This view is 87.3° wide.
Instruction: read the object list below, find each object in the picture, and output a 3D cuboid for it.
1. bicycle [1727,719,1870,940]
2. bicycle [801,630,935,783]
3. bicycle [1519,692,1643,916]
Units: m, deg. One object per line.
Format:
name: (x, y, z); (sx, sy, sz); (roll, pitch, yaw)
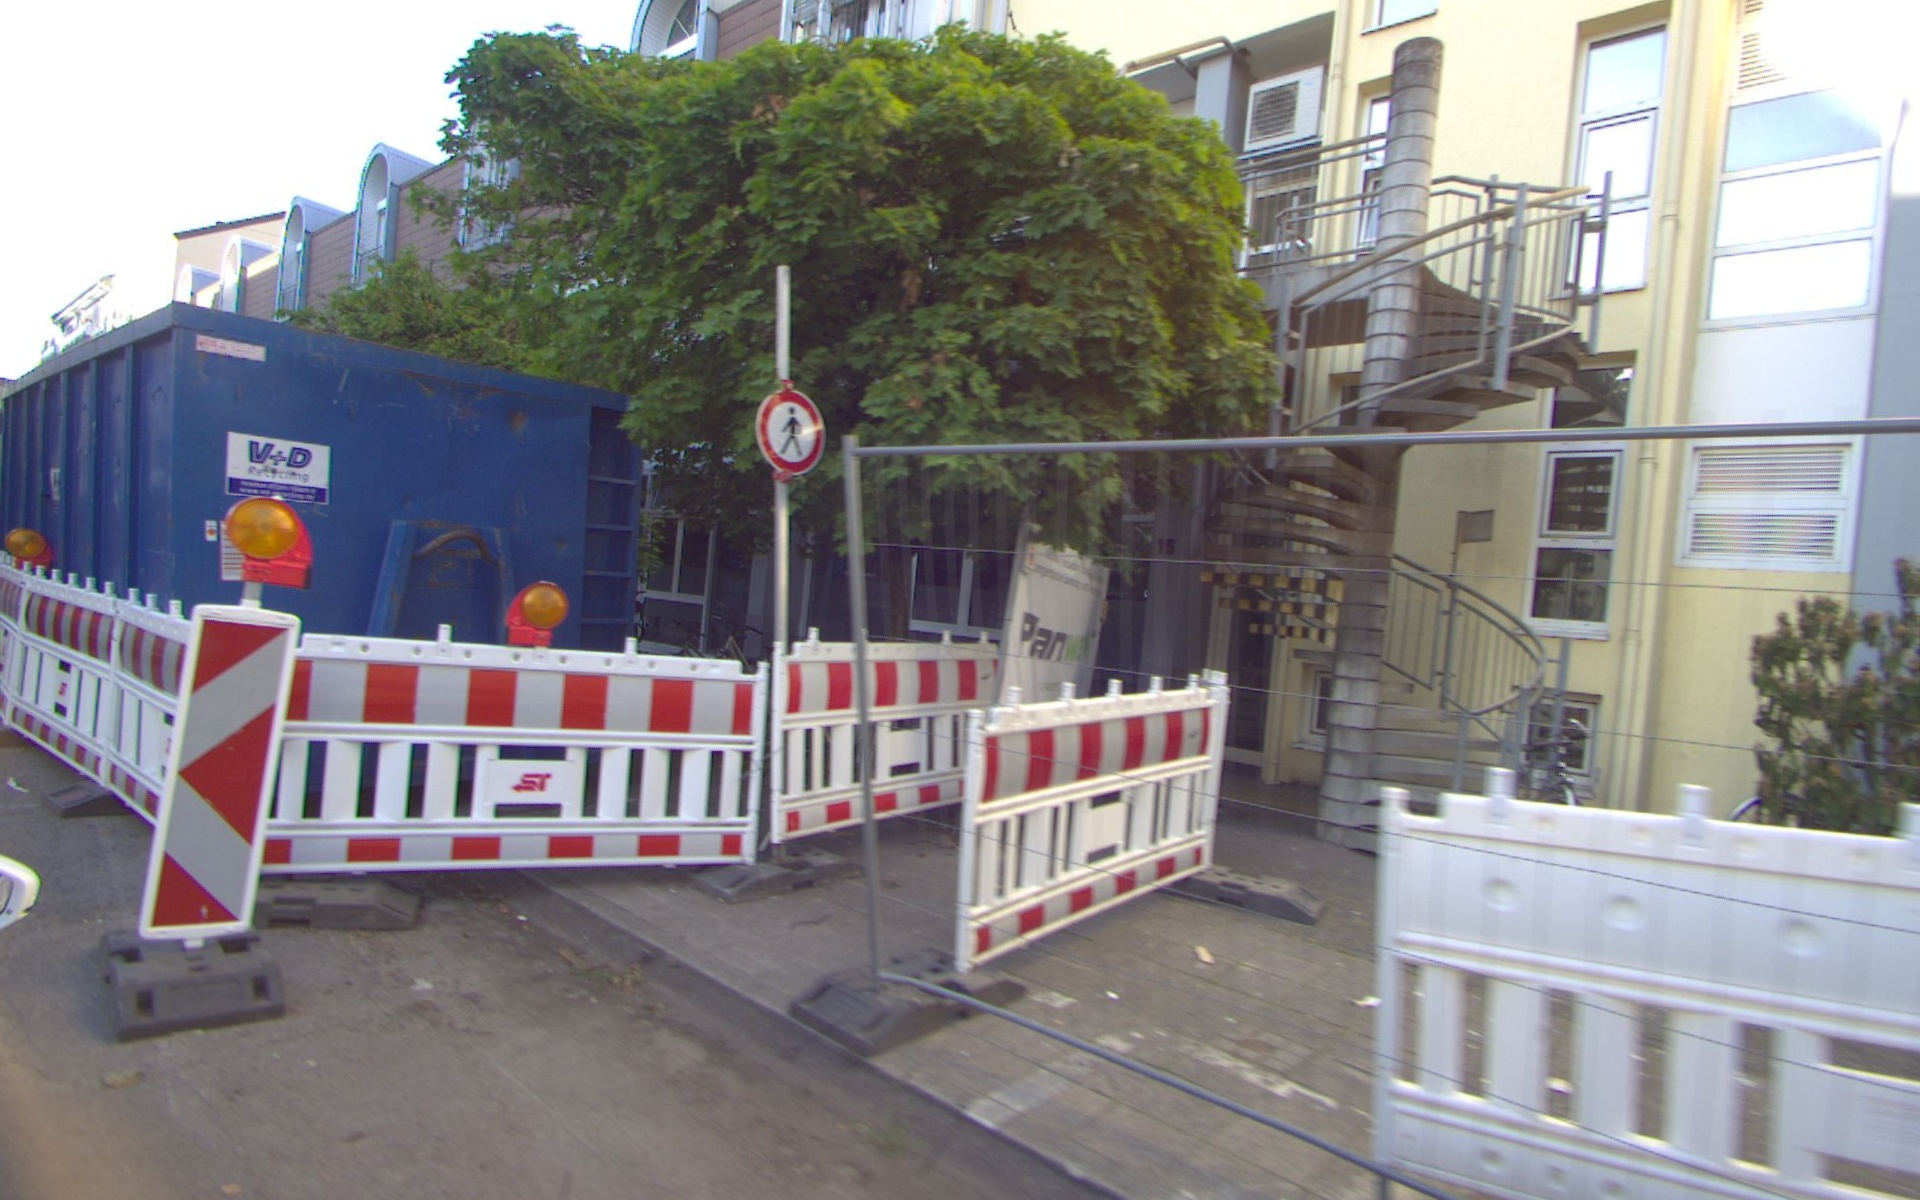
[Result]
bicycle: (5.755, 1.495, 6.988); (0.555, 1.182, 1.881); (6, 1, 37)
bicycle: (-0.801, 0.853, 8.386); (0.562, 1.082, 1.358); (7, -1, -26)
bicycle: (4.234, 1.315, 6.921); (0.540, 1.283, 1.648); (6, -2, 30)
